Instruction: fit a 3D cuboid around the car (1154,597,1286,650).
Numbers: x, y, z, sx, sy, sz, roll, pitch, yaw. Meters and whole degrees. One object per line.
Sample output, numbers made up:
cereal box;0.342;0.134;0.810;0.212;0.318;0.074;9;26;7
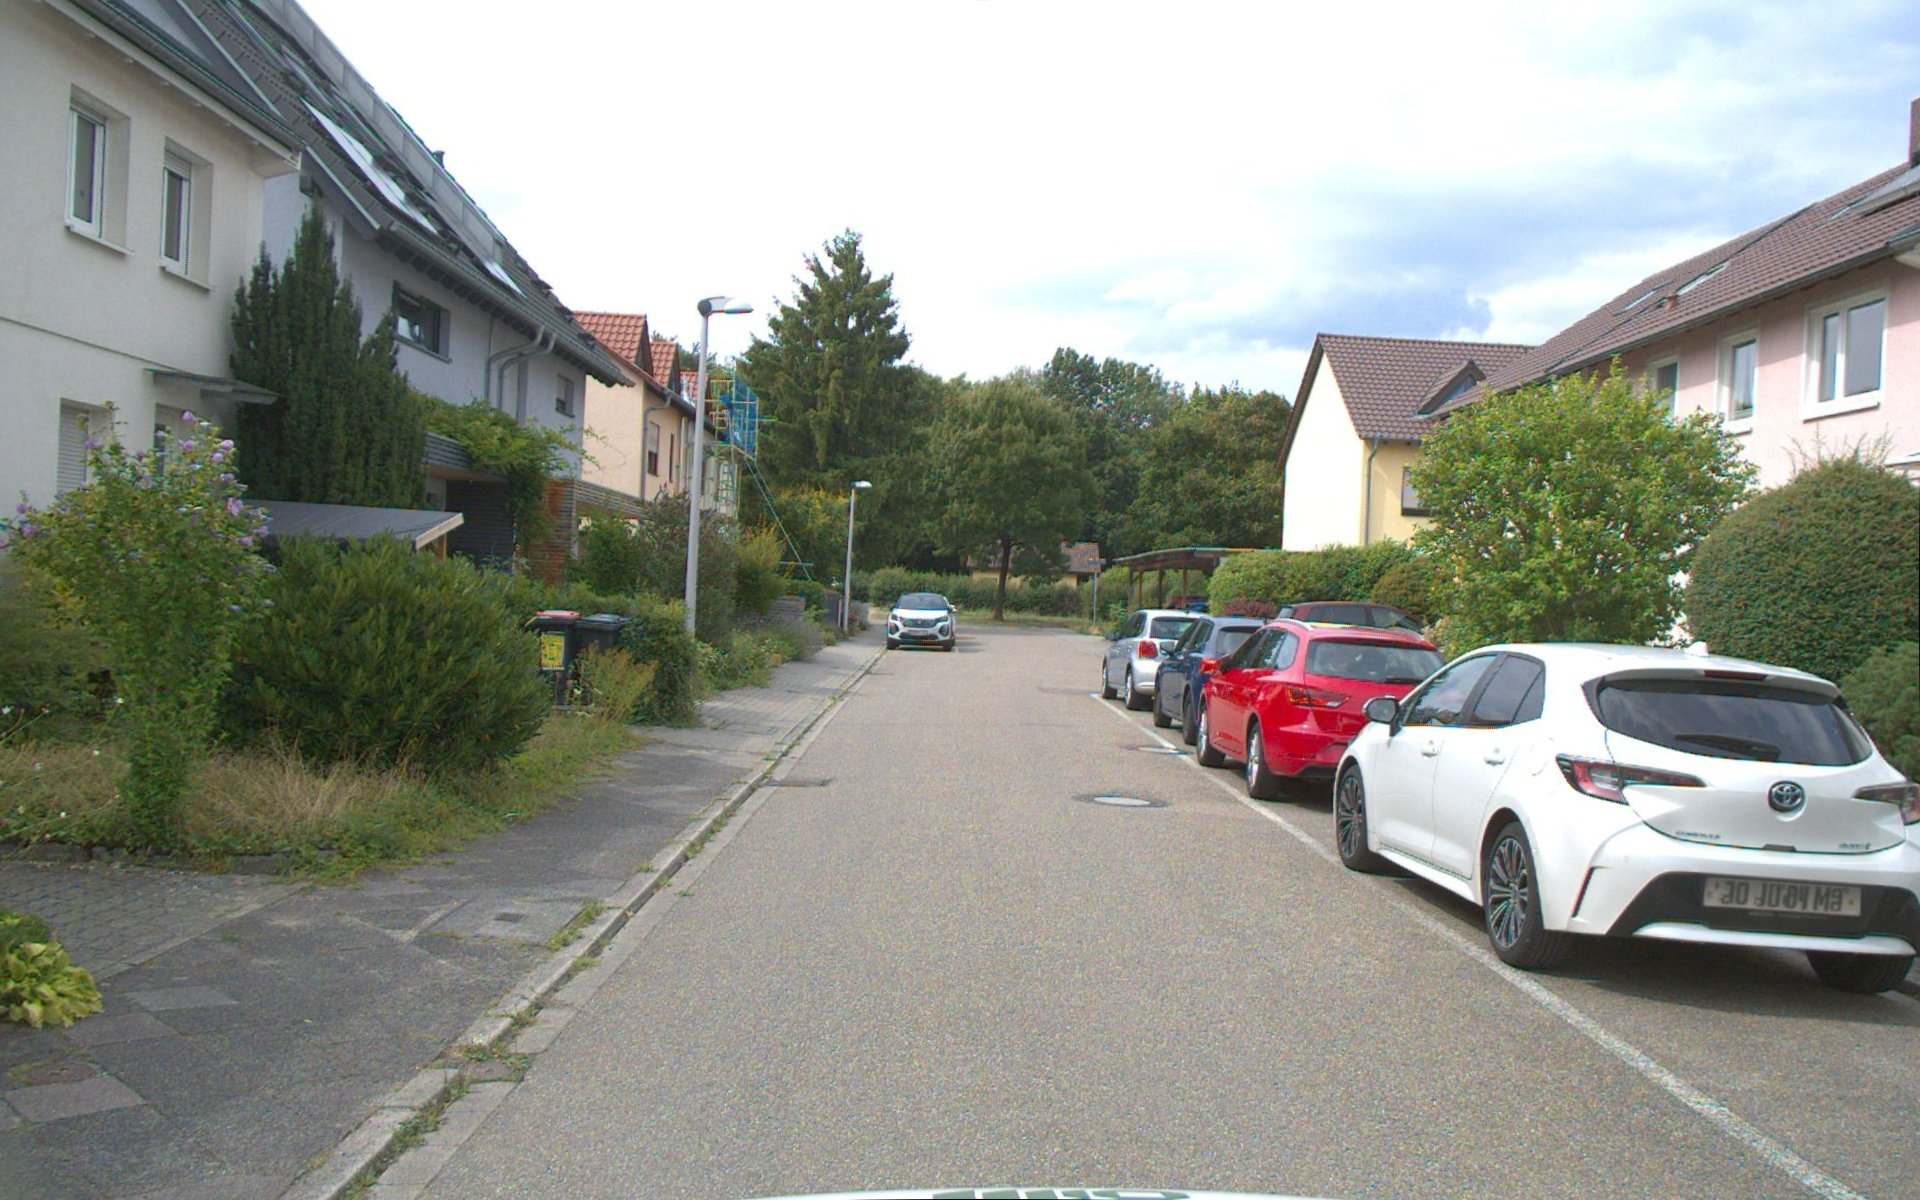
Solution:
car;8.362;0.748;53.420;3.878;1.567;1.838;2;0;-3

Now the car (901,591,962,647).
car;-0.878;0.553;51.445;1.773;1.589;4.847;2;0;-1

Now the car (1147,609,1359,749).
car;3.354;0.851;19.689;1.736;1.379;4.265;2;0;0

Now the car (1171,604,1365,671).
car;7.564;0.901;40.949;4.361;1.458;2.026;2;0;-2

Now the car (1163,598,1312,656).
car;8.099;0.777;48.496;3.965;1.549;1.949;2;0;-3

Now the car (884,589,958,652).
car;-1.033;0.531;46.045;1.894;1.583;4.634;2;0;0

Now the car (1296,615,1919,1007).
car;3.299;0.864;8.839;1.801;1.437;4.634;2;0;-3

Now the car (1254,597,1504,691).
car;7.797;0.794;31.046;4.182;1.587;1.934;2;0;0

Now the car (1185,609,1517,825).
car;3.271;0.892;14.854;1.738;1.460;4.825;4;0;0

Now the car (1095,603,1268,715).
car;3.269;0.830;25.186;1.827;1.441;4.251;3;0;-3
